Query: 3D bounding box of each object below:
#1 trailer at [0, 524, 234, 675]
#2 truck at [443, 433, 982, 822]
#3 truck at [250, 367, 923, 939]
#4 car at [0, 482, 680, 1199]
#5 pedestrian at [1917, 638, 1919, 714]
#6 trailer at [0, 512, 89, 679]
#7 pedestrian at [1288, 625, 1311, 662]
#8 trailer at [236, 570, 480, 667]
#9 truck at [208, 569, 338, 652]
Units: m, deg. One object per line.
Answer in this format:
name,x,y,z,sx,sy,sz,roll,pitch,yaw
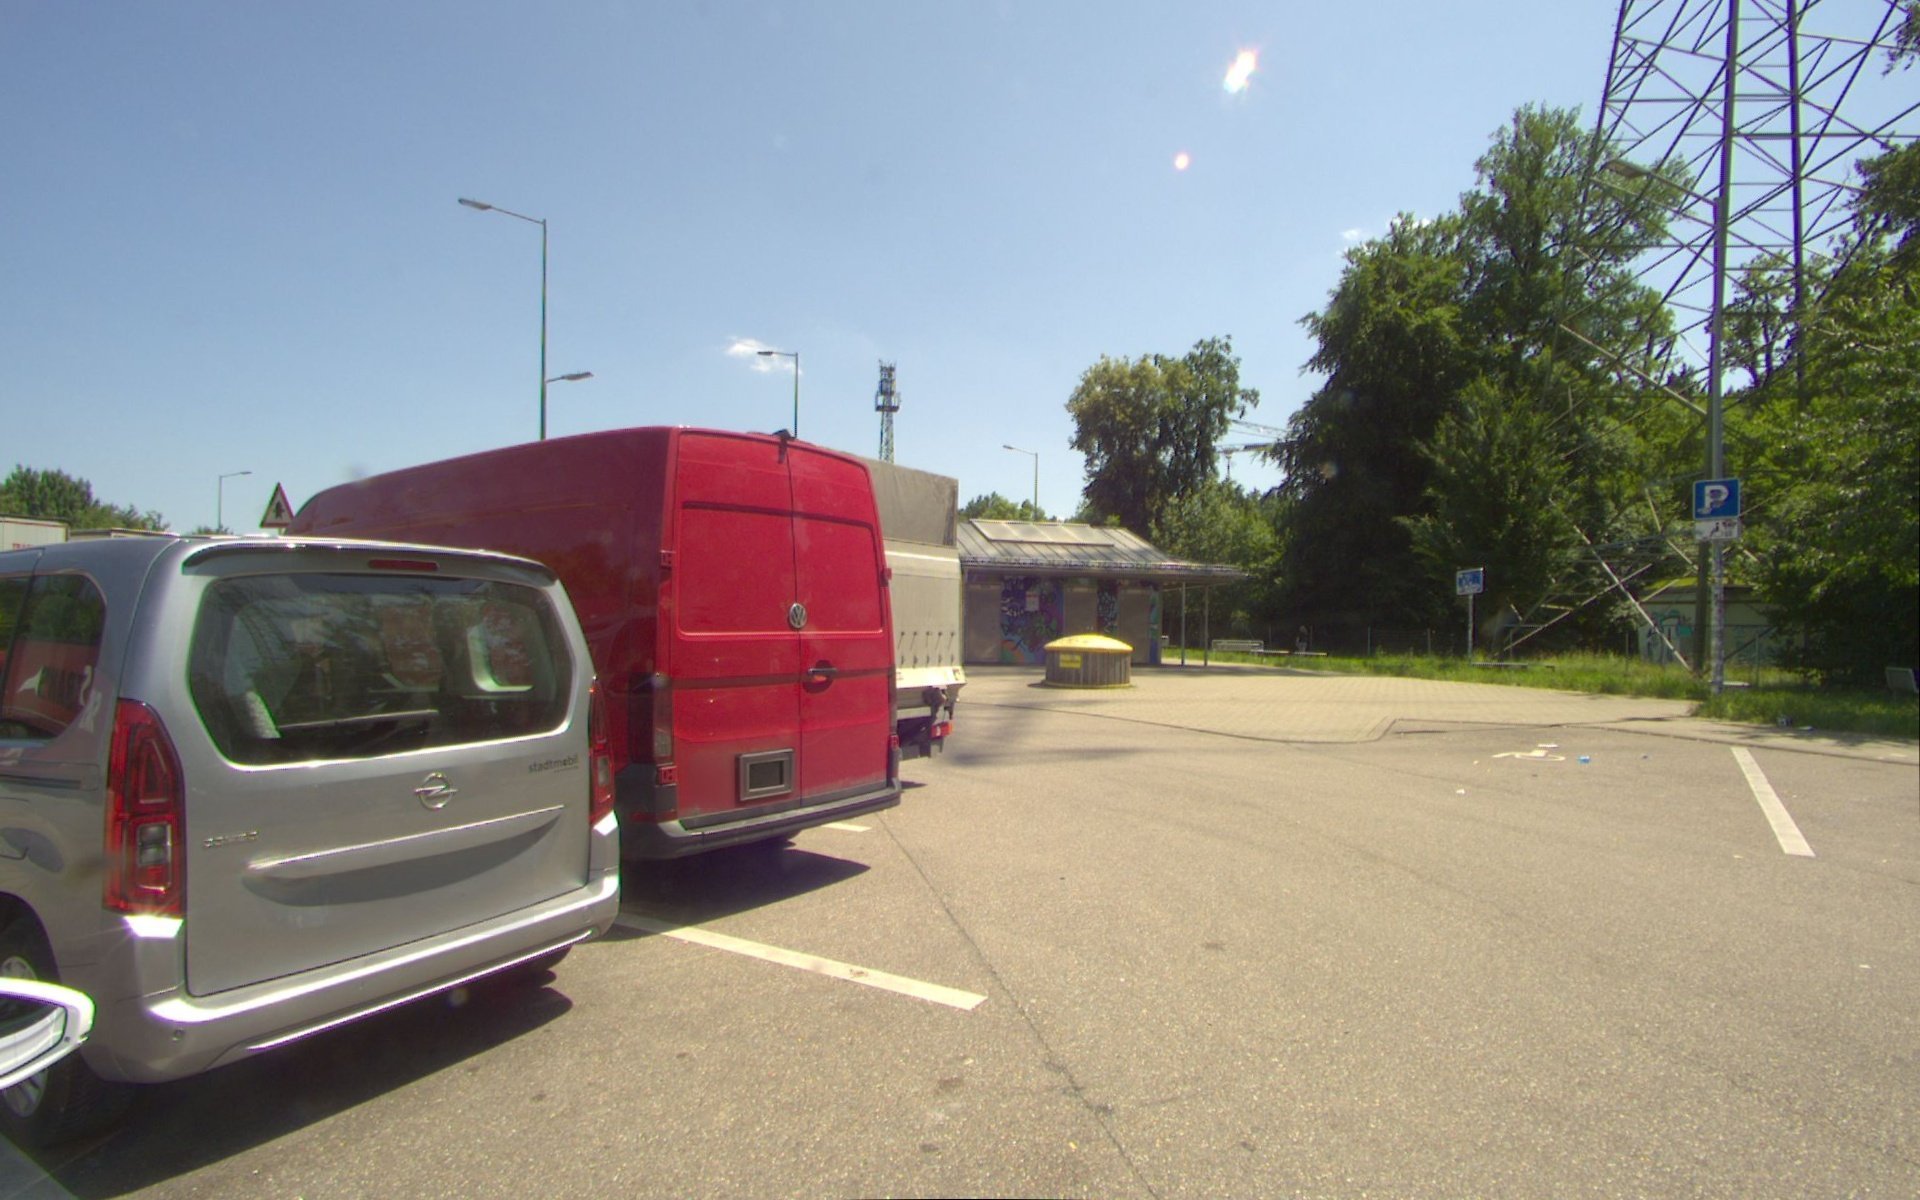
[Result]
trailer,-27.958,-0.099,31.787,14.184,4.040,2.808,2,-2,33
truck,-2.744,0.308,10.286,5.582,2.949,2.449,-2,-2,37
truck,-2.895,0.340,7.047,5.238,2.655,1.972,-2,-2,38
car,-3.388,0.689,4.247,4.113,1.887,1.868,1,-2,31
pedestrian,17.252,1.332,17.475,0.690,1.352,0.561,-1,-1,33
trailer,-29.021,-0.258,28.141,14.184,4.040,2.808,2,-2,33
pedestrian,15.778,2.017,46.519,0.723,1.658,0.792,0,-1,-10
trailer,-26.104,0.651,42.902,14.184,3.552,2.808,2,-2,33
truck,-32.098,0.472,46.760,5.813,3.566,2.799,2,-2,33
